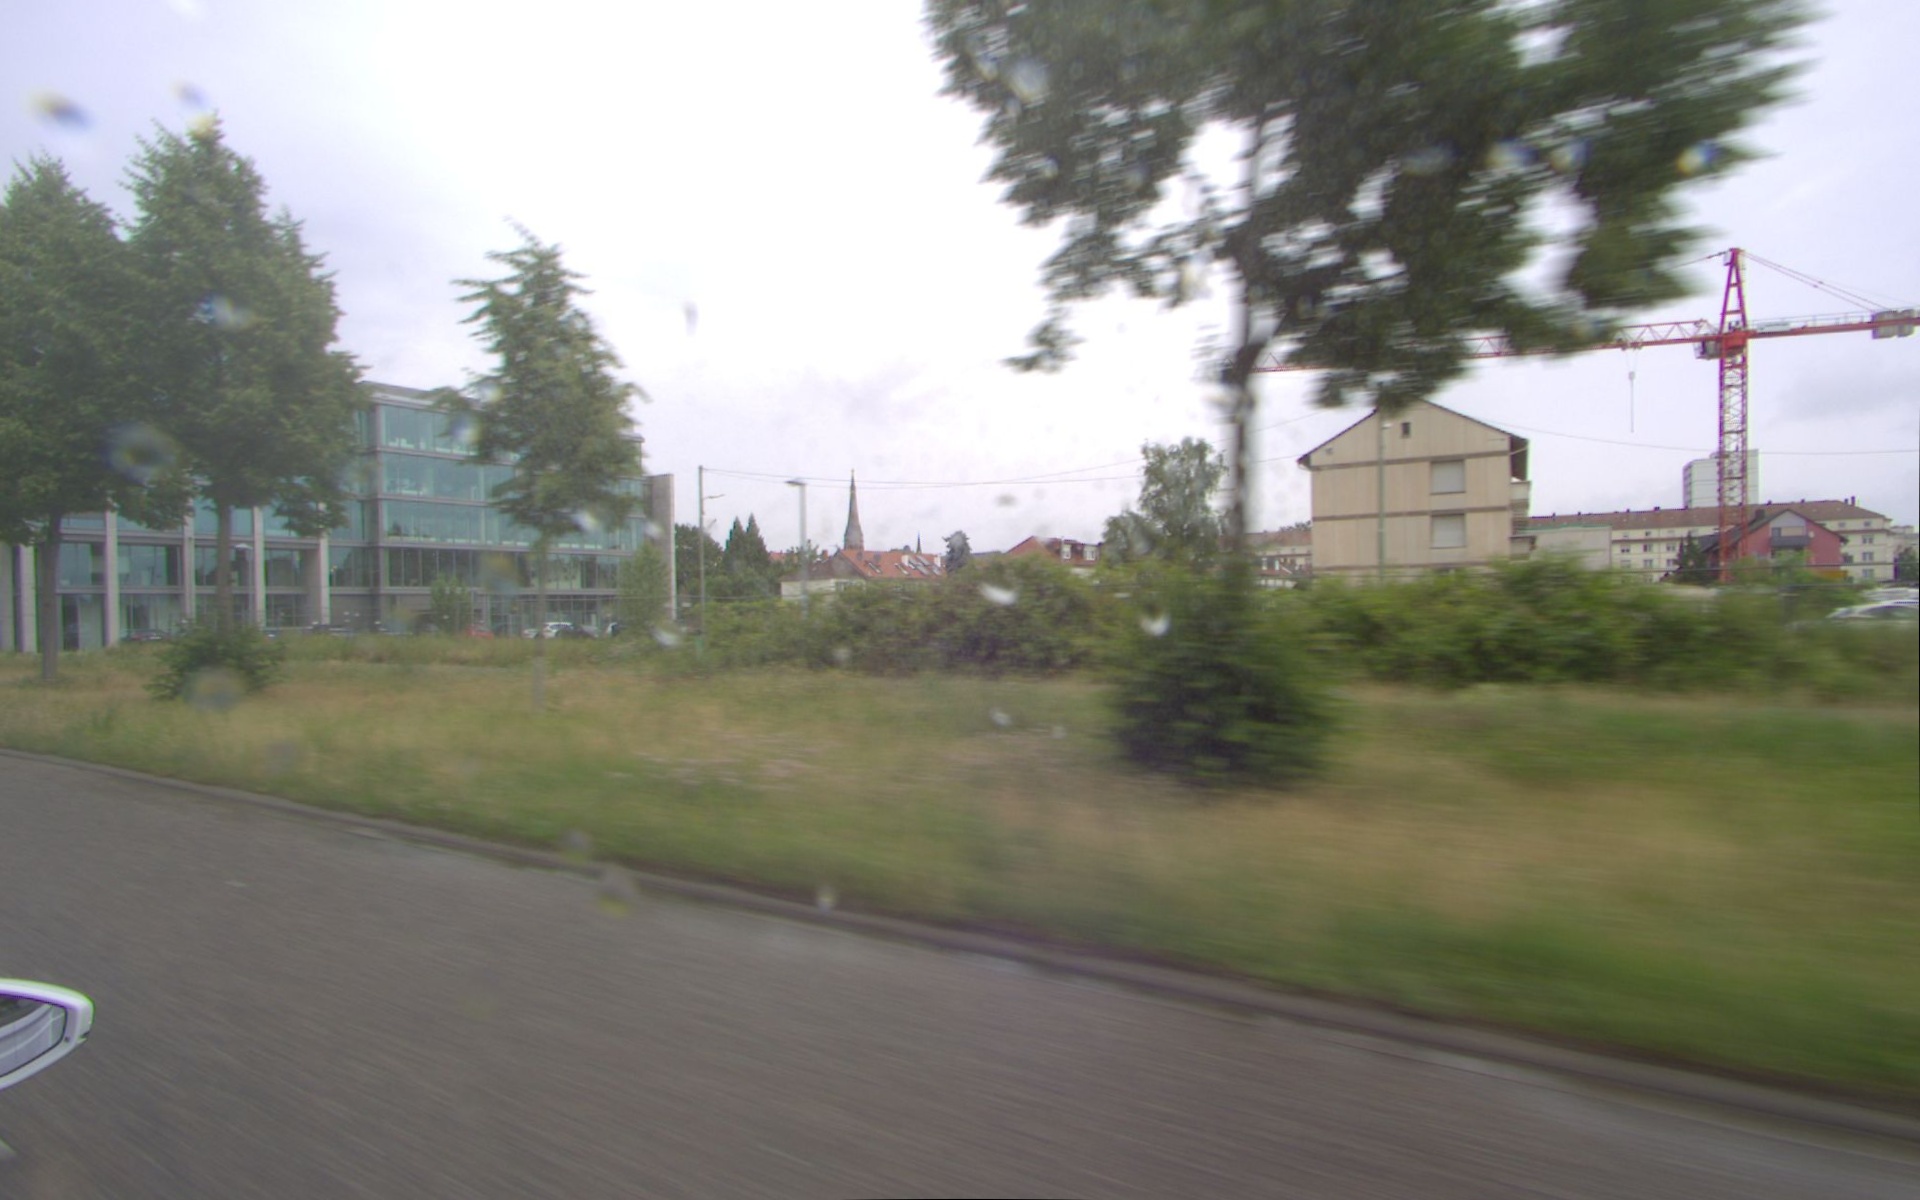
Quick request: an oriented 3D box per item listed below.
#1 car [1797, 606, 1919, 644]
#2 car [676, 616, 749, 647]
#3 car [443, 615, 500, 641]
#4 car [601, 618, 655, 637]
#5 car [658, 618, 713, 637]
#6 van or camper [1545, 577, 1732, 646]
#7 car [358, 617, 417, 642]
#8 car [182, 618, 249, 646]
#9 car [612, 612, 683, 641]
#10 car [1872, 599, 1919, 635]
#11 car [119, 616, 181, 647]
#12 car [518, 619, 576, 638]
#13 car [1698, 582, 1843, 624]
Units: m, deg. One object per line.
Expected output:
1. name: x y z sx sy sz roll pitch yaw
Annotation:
1. car: 34.502 0.947 38.023 3.976 1.370 1.692 -1 -1 34
2. car: -13.614 1.730 54.996 3.950 1.622 1.848 -1 -1 38
3. car: -32.112 1.816 65.816 3.950 1.622 1.848 -1 -1 38
4. car: -24.749 2.057 74.716 3.974 1.370 1.693 -1 -1 32
5. car: -19.871 1.969 72.441 3.980 1.370 1.691 -1 -1 36
6. van or camper: 28.185 0.503 41.943 6.302 2.724 2.305 -1 0 31
7. car: -35.410 1.831 61.900 4.177 1.494 1.779 -1 -1 38
8. car: -40.976 1.752 55.072 4.500 1.473 1.848 -1 -1 38
9. car: -17.946 1.502 57.443 4.180 1.622 1.848 -1 -1 38
10. car: 38.274 0.647 38.875 3.976 1.370 1.692 -1 0 34
11. car: -42.909 1.664 53.033 3.953 1.601 1.847 -1 -1 40
12. car: -33.267 2.286 80.696 1.837 1.457 3.972 1 0 37
13. car: 39.032 0.157 48.442 5.127 1.919 2.160 -1 0 29
